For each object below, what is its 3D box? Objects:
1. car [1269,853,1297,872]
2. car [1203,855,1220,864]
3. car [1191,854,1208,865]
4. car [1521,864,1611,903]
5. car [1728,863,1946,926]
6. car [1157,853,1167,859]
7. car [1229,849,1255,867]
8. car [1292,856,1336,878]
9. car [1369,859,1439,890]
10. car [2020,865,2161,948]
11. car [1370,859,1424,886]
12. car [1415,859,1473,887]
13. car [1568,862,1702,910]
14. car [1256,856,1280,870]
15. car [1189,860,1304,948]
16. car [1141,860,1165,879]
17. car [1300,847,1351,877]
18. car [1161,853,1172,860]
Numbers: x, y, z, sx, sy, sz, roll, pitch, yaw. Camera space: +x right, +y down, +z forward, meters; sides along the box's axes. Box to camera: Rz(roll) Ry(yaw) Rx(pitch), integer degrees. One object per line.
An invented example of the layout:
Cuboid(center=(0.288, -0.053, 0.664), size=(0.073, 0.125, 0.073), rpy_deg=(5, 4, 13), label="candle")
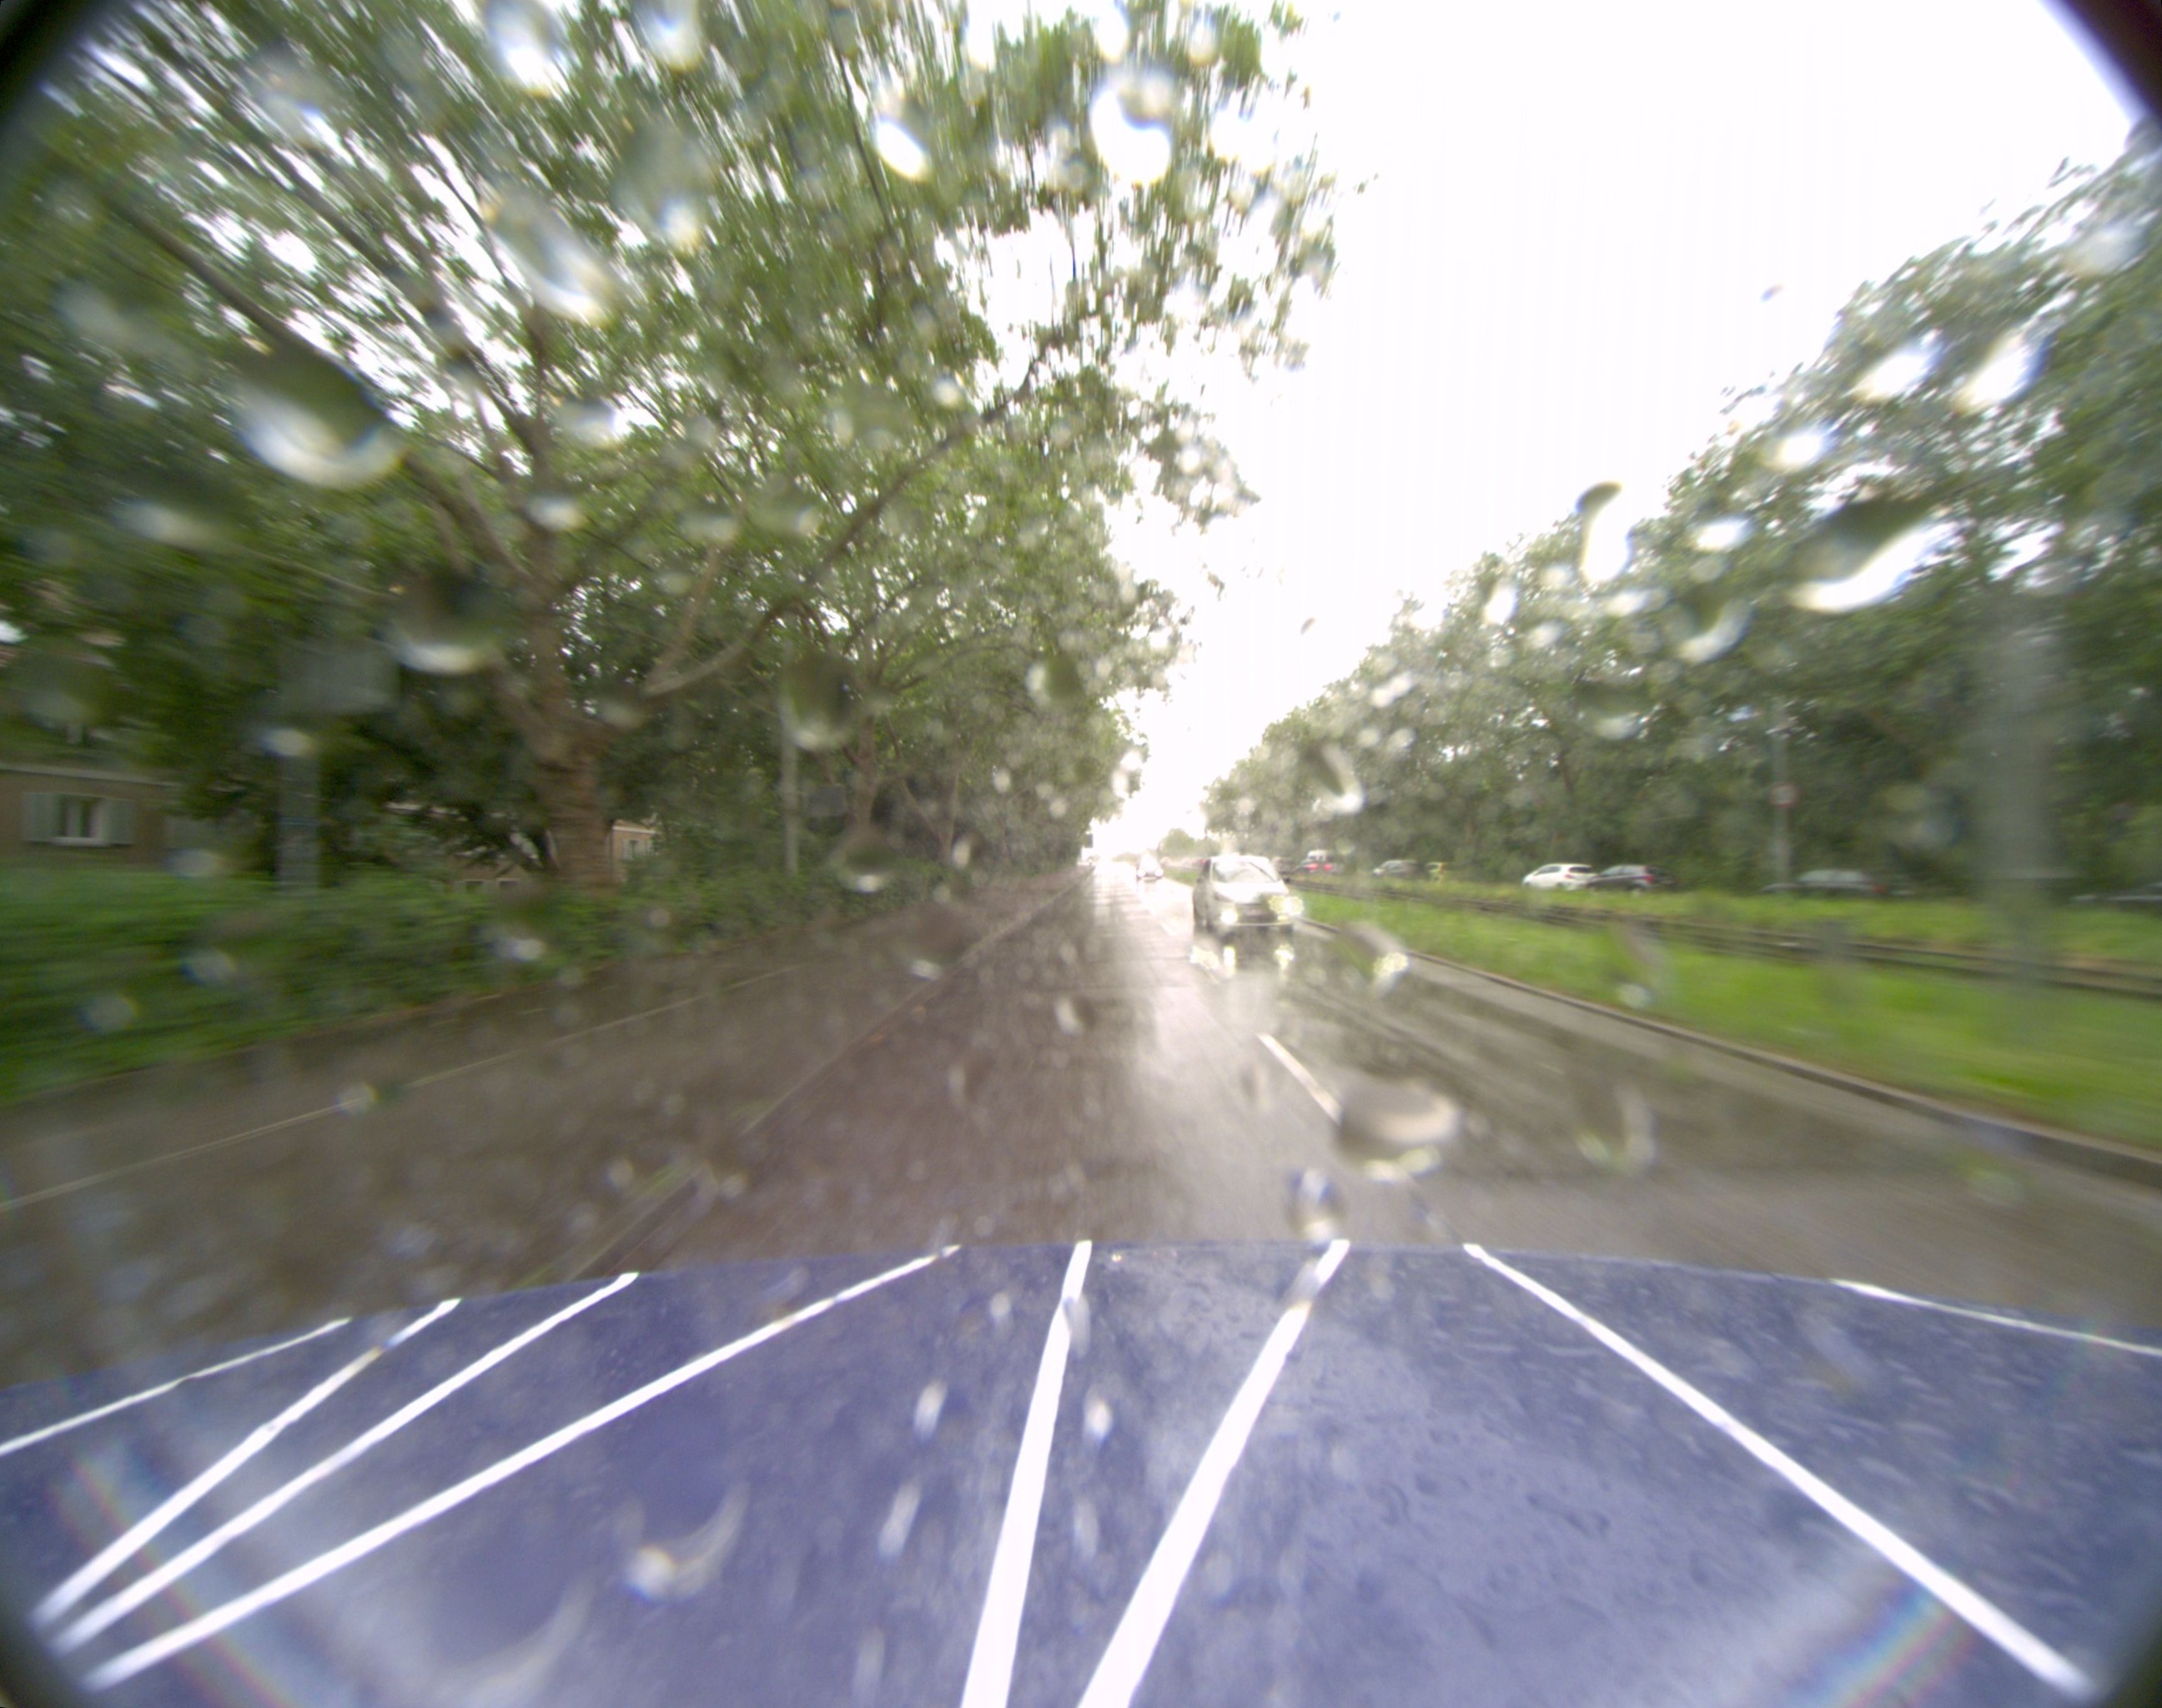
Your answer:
Cuboid(center=(22.281, 0.914, 83.998), size=(1.961, 1.851, 4.640), rpy_deg=(-3, 1, 3), label="car")
Cuboid(center=(22.779, 0.947, 132.670), size=(2.038, 1.543, 4.384), rpy_deg=(1, 0, -1), label="car")
Cuboid(center=(19.202, 0.896, 123.323), size=(2.037, 1.741, 4.259), rpy_deg=(1, 0, -1), label="car")
Cuboid(center=(22.837, 1.358, 35.969), size=(1.765, 1.638, 3.813), rpy_deg=(1, 0, -1), label="car")
Cuboid(center=(22.868, 1.145, 23.312), size=(2.037, 1.648, 4.609), rpy_deg=(1, 0, -1), label="car")
Cuboid(center=(21.614, 0.575, 202.826), size=(2.038, 1.543, 4.565), rpy_deg=(0, 1, 1), label="car")
Cuboid(center=(22.347, 0.488, 105.791), size=(2.335, 2.432, 6.139), rpy_deg=(1, 1, 0), label="car")
Cuboid(center=(18.428, 1.023, 60.296), size=(2.019, 1.648, 4.395), rpy_deg=(1, 0, -1), label="car")
Cuboid(center=(18.276, 1.116, 43.205), size=(2.037, 1.648, 4.276), rpy_deg=(1, 0, -2), label="car")
Cuboid(center=(23.053, 1.107, 15.506), size=(2.037, 1.648, 4.609), rpy_deg=(1, 0, -1), label="car")
Cuboid(center=(21.992, 1.232, 53.062), size=(1.755, 1.718, 4.531), rpy_deg=(1, 0, -1), label="car")
Cuboid(center=(22.540, 1.157, 47.356), size=(1.765, 1.638, 3.813), rpy_deg=(1, 0, -1), label="car")
Cuboid(center=(22.770, 1.262, 31.501), size=(2.037, 1.741, 4.693), rpy_deg=(1, 0, -1), label="car")
Cuboid(center=(22.160, 1.043, 90.114), size=(1.822, 1.543, 4.024), rpy_deg=(1, 0, 1), label="car")
Cuboid(center=(3.538, 1.001, 17.017), size=(1.869, 1.614, 4.263), rpy_deg=(-1, 0, 4), label="car")
Cuboid(center=(5.777, 1.203, 61.293), size=(1.726, 1.425, 3.852), rpy_deg=(-1, 0, 3), label="car")
Cuboid(center=(21.940, 0.650, 68.437), size=(2.396, 2.526, 6.565), rpy_deg=(1, 0, -1), label="car")
Cuboid(center=(20.044, 0.619, 178.739), size=(1.983, 1.557, 4.768), rpy_deg=(1, 0, 0), label="car")
